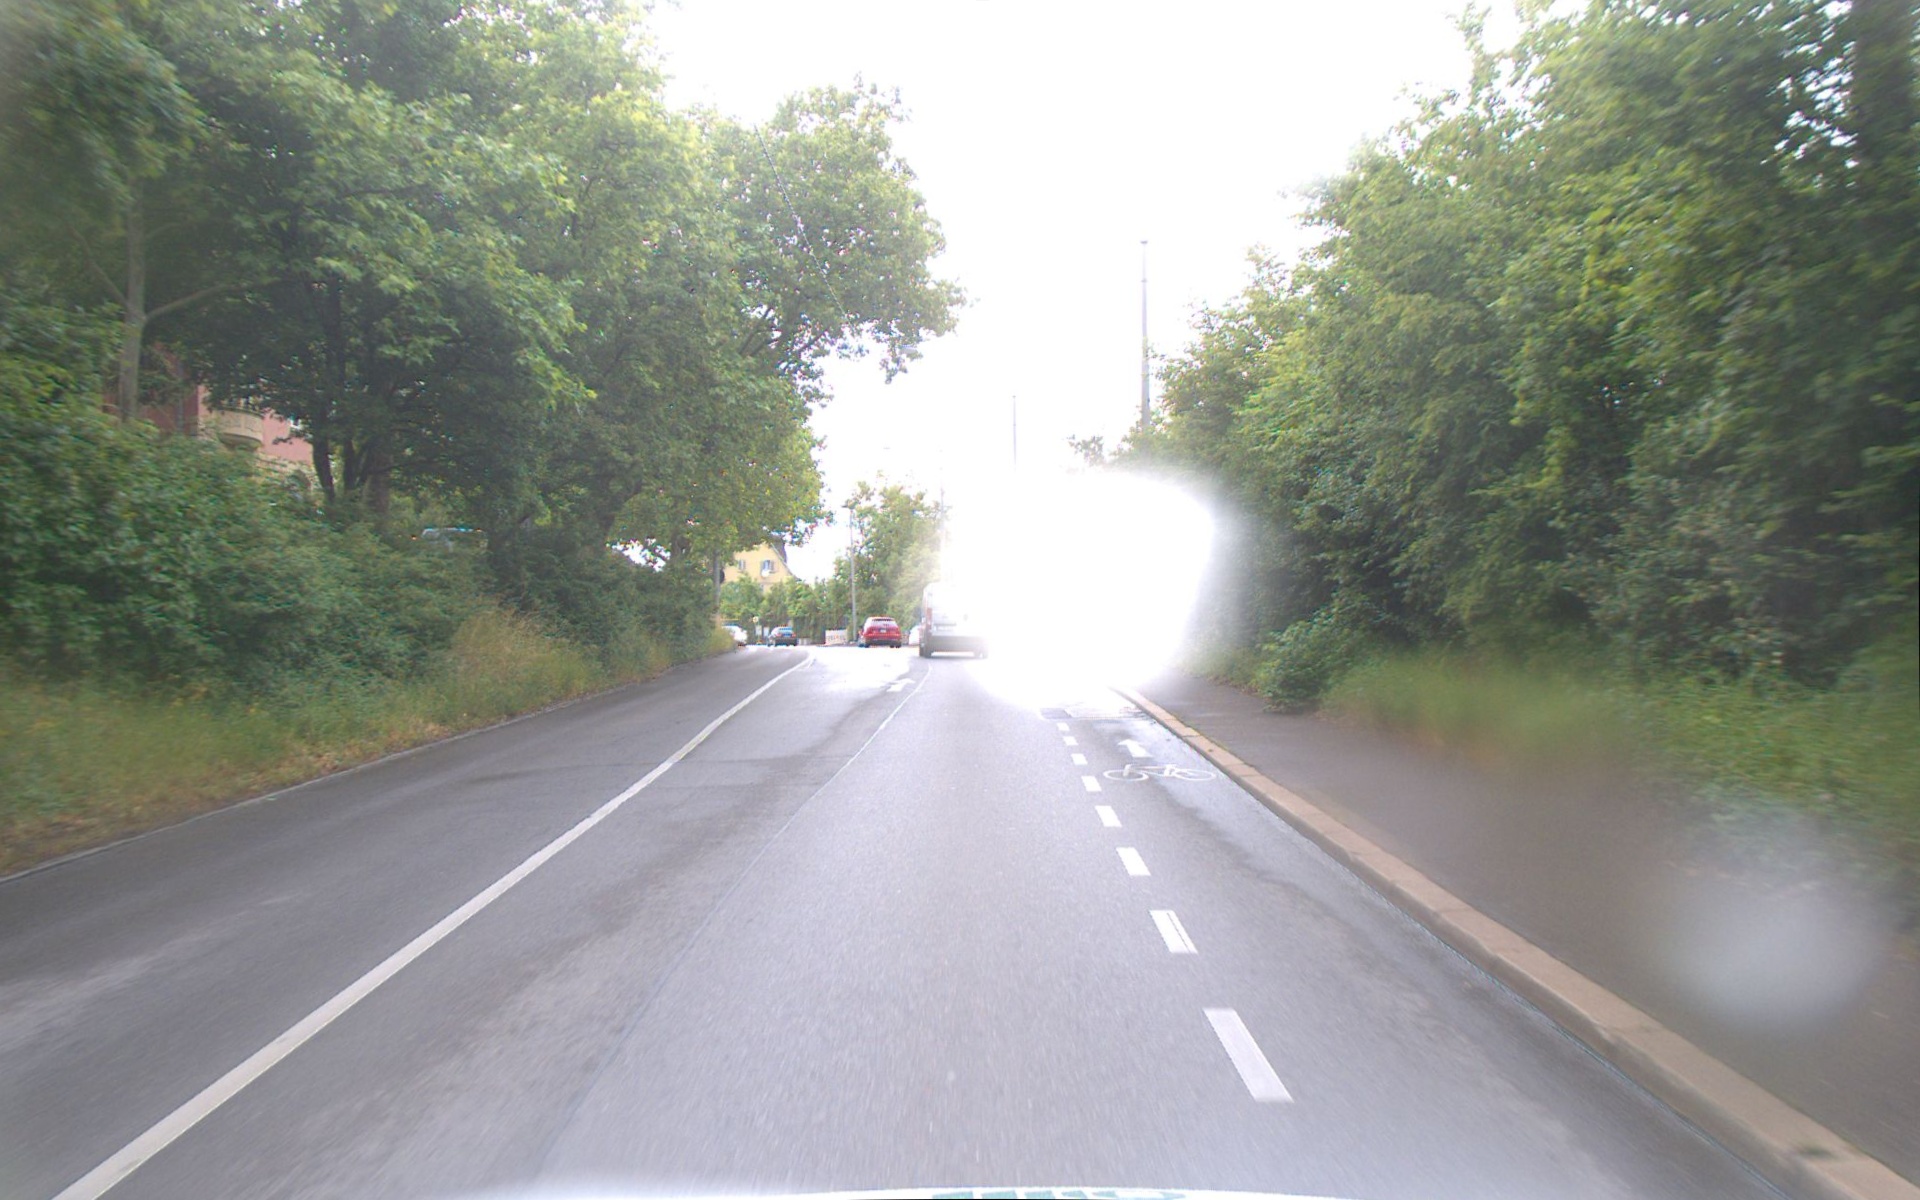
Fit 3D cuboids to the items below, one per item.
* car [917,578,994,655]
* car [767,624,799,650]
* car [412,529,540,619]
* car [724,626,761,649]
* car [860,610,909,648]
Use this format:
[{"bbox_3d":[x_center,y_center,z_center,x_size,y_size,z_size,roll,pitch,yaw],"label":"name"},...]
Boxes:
[{"bbox_3d":[-0.181,0.506,51.669,2.192,2.252,4.711,1,0,-2],"label":"car"},{"bbox_3d":[-13.058,2.715,122.073,2.195,1.836,4.705,1,0,-8],"label":"car"},{"bbox_3d":[-11.808,-0.599,40.681,1.954,2.049,4.624,1,0,-3],"label":"car"},{"bbox_3d":[-14.352,2.451,108.980,2.034,1.376,4.699,1,0,-12],"label":"car"},{"bbox_3d":[-3.615,1.369,78.643,2.193,1.686,4.709,1,0,-4],"label":"car"}]
